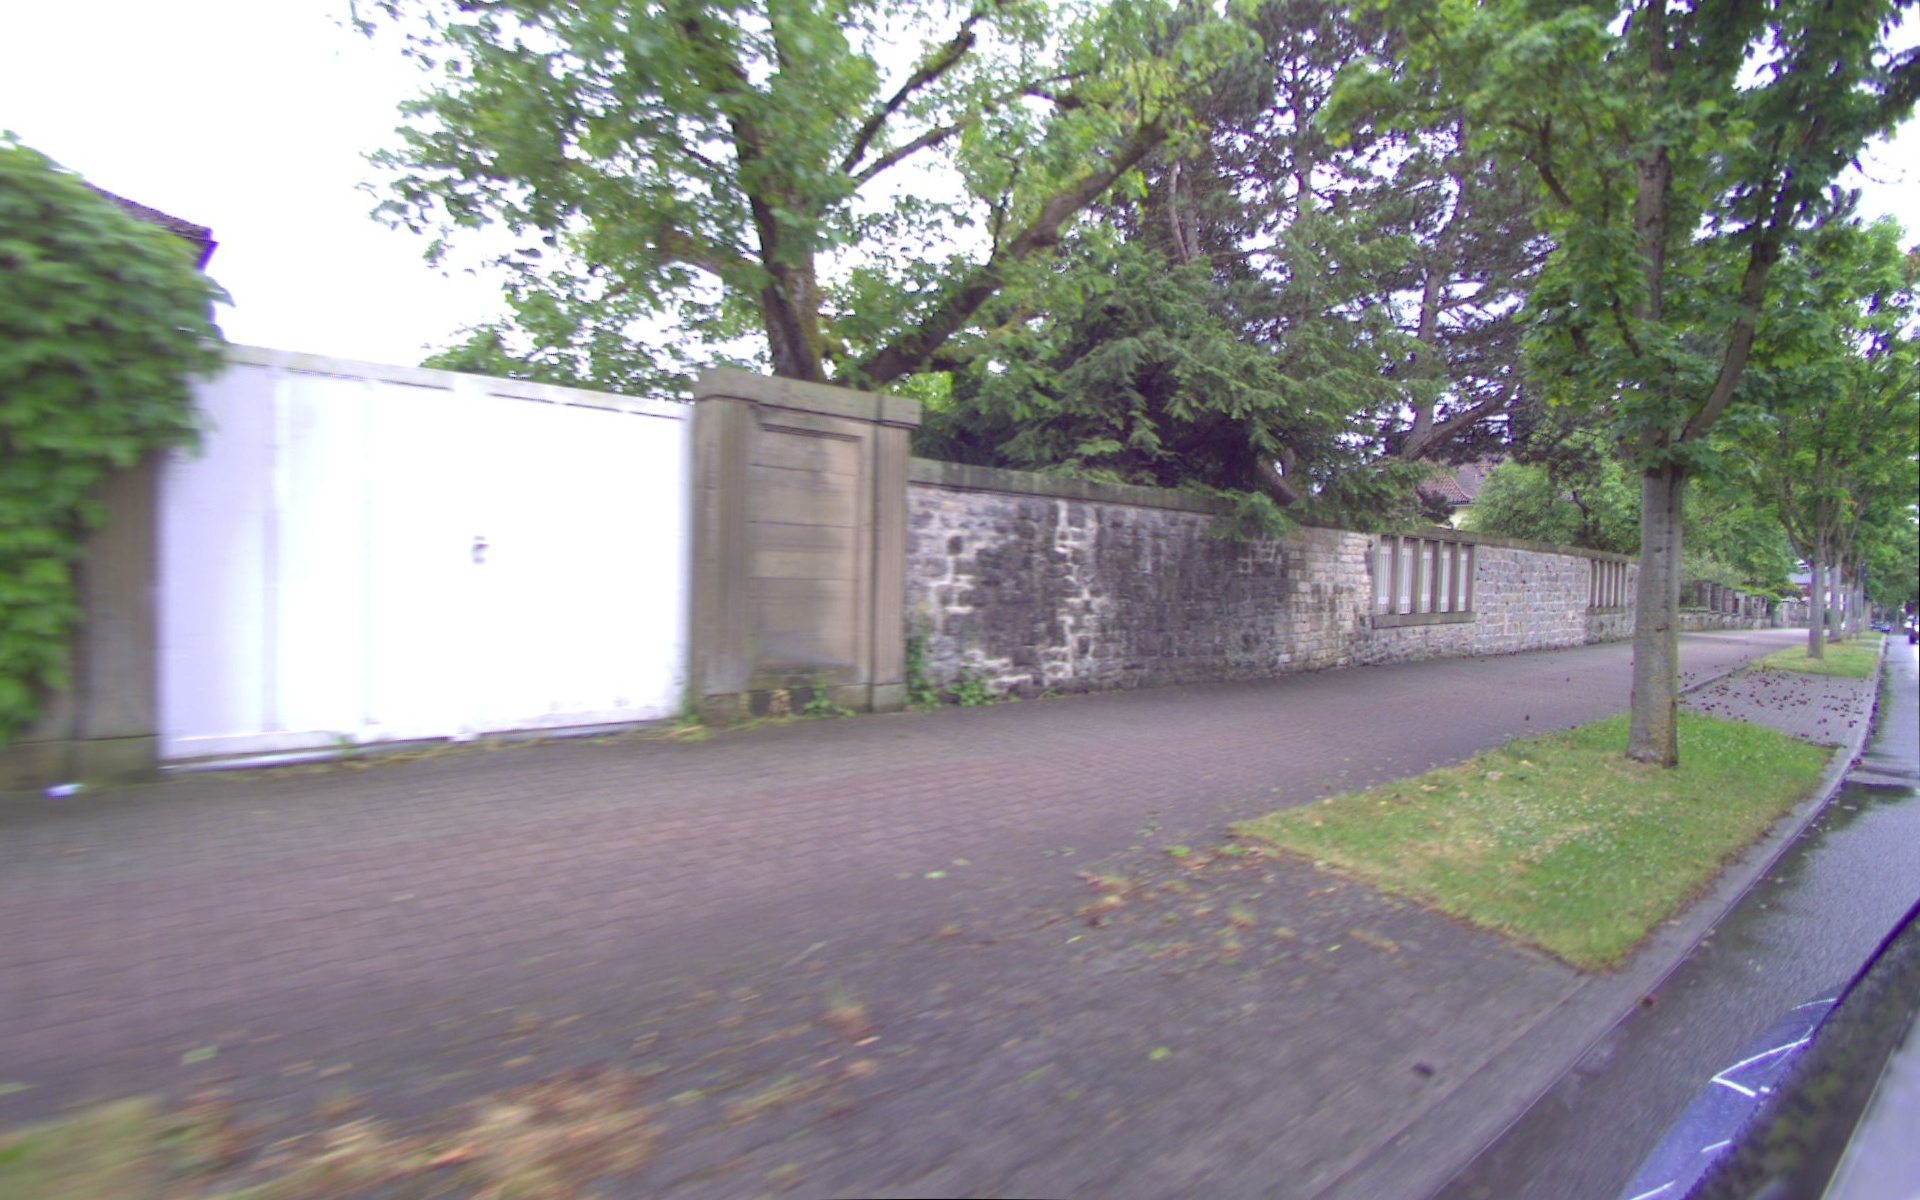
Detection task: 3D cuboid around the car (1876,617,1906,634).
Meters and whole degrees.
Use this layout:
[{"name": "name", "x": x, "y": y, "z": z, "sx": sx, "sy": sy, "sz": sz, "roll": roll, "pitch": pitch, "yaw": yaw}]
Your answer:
[{"name": "car", "x": 82.386, "y": 2.285, "z": 89.568, "sx": 3.764, "sy": 1.394, "sz": 1.644, "roll": 2, "pitch": 1, "yaw": -43}]
